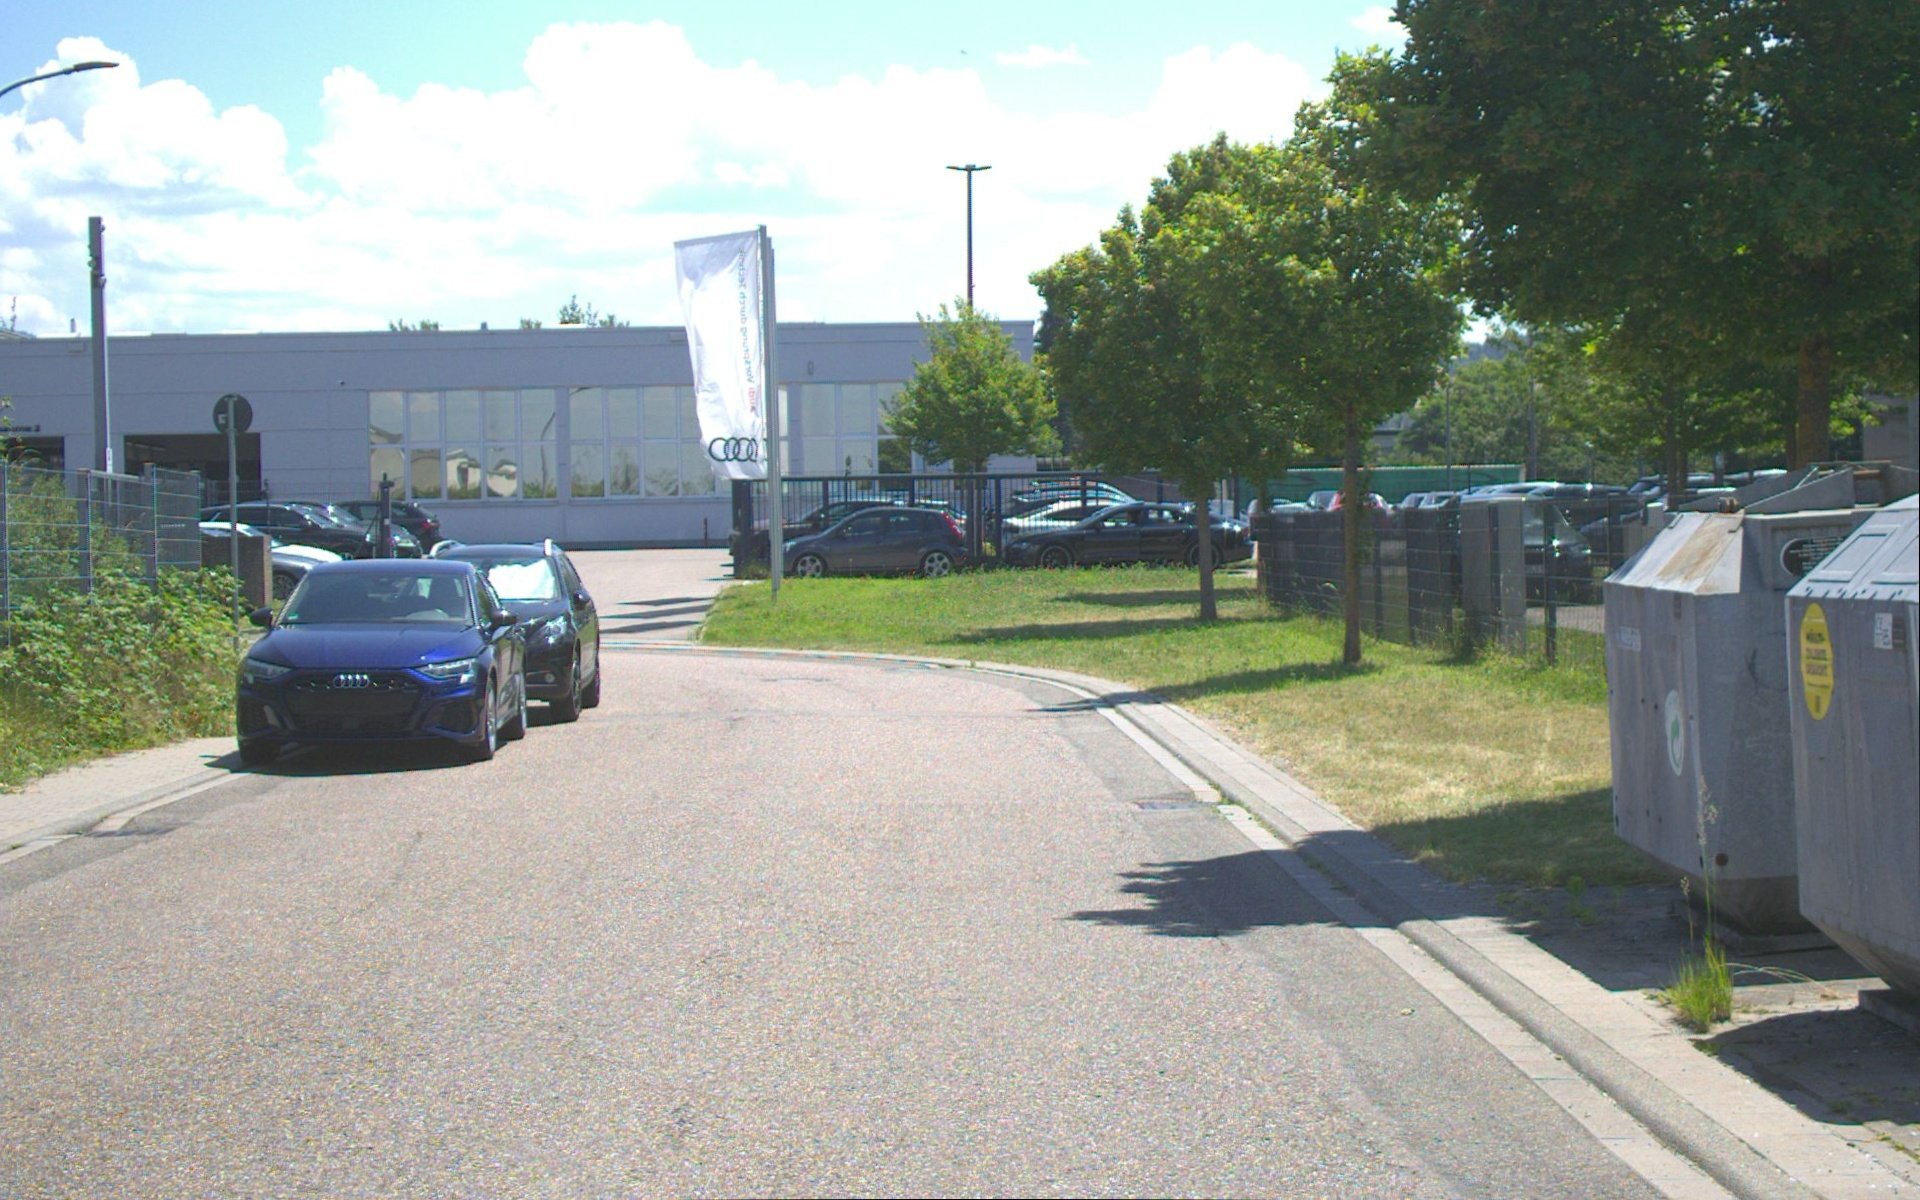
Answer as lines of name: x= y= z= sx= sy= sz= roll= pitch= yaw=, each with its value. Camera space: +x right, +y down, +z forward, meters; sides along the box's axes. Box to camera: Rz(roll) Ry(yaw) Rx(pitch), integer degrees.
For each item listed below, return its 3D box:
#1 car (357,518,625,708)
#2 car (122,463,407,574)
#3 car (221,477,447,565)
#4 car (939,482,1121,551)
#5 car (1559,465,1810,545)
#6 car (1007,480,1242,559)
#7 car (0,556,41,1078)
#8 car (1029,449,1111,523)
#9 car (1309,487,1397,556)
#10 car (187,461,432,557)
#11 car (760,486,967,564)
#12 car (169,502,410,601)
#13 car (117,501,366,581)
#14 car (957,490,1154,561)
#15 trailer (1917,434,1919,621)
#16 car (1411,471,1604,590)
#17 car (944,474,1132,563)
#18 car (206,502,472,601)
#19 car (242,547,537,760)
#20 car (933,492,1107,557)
car: x=-4.136 y=0.071 z=30.934 sx=1.833 sy=1.541 sz=4.265 roll=-2 pitch=1 yaw=-1
car: x=-14.006 y=-1.651 z=69.451 sx=5.317 sy=2.090 sz=2.000 roll=-1 pitch=1 yaw=-1
car: x=-14.563 y=-1.850 z=80.152 sx=4.883 sy=1.916 sz=2.000 roll=-1 pitch=1 yaw=-1
car: x=1.561 y=-1.887 z=77.993 sx=3.986 sy=1.393 sz=2.000 roll=-1 pitch=-1 yaw=-2
car: x=14.180 y=-1.851 z=67.458 sx=4.437 sy=1.393 sz=2.000 roll=-1 pitch=-1 yaw=-2
car: x=3.206 y=-1.584 z=67.820 sx=4.437 sy=1.393 sz=2.000 roll=-1 pitch=-1 yaw=-2
car: x=-3.755 y=0.698 z=8.435 sx=1.833 sy=1.541 sz=4.367 roll=-2 pitch=1 yaw=-1
car: x=2.987 y=-3.103 z=94.110 sx=1.993 sy=1.821 sz=4.000 roll=-1 pitch=-1 yaw=-1
car: x=11.374 y=-2.254 z=99.693 sx=1.993 sy=1.821 sz=4.000 roll=-1 pitch=-1 yaw=-1
car: x=-14.002 y=-1.964 z=74.178 sx=4.883 sy=1.916 sz=2.000 roll=-1 pitch=1 yaw=-1
car: x=-1.909 y=-1.464 z=67.715 sx=3.986 sy=1.393 sz=2.000 roll=-1 pitch=-1 yaw=-2
car: x=-13.910 y=-1.016 z=71.500 sx=4.586 sy=1.916 sz=2.000 roll=-1 pitch=1 yaw=-1
car: x=-13.944 y=-1.135 z=66.913 sx=4.437 sy=1.393 sz=2.000 roll=-1 pitch=-1 yaw=-2
car: x=1.988 y=-1.564 z=72.568 sx=3.986 sy=1.393 sz=2.000 roll=-1 pitch=0 yaw=-2
trailer: x=10.989 y=-0.690 z=35.184 sx=1.493 sy=1.999 sz=3.264 roll=-2 pitch=4 yaw=1
car: x=7.397 y=-0.957 z=46.786 sx=1.735 sy=1.517 sz=3.896 roll=-1 pitch=1 yaw=-4
car: x=1.686 y=-1.783 z=75.829 sx=3.986 sy=1.821 sz=2.000 roll=-1 pitch=-1 yaw=-2
car: x=-11.083 y=-0.851 z=61.582 sx=4.437 sy=1.621 sz=2.000 roll=-1 pitch=-1 yaw=-2
car: x=-4.176 y=0.335 z=25.703 sx=1.656 sy=1.412 sz=4.146 roll=-2 pitch=1 yaw=-3
car: x=1.390 y=-1.786 z=81.477 sx=3.986 sy=1.393 sz=2.000 roll=-1 pitch=-1 yaw=-2
